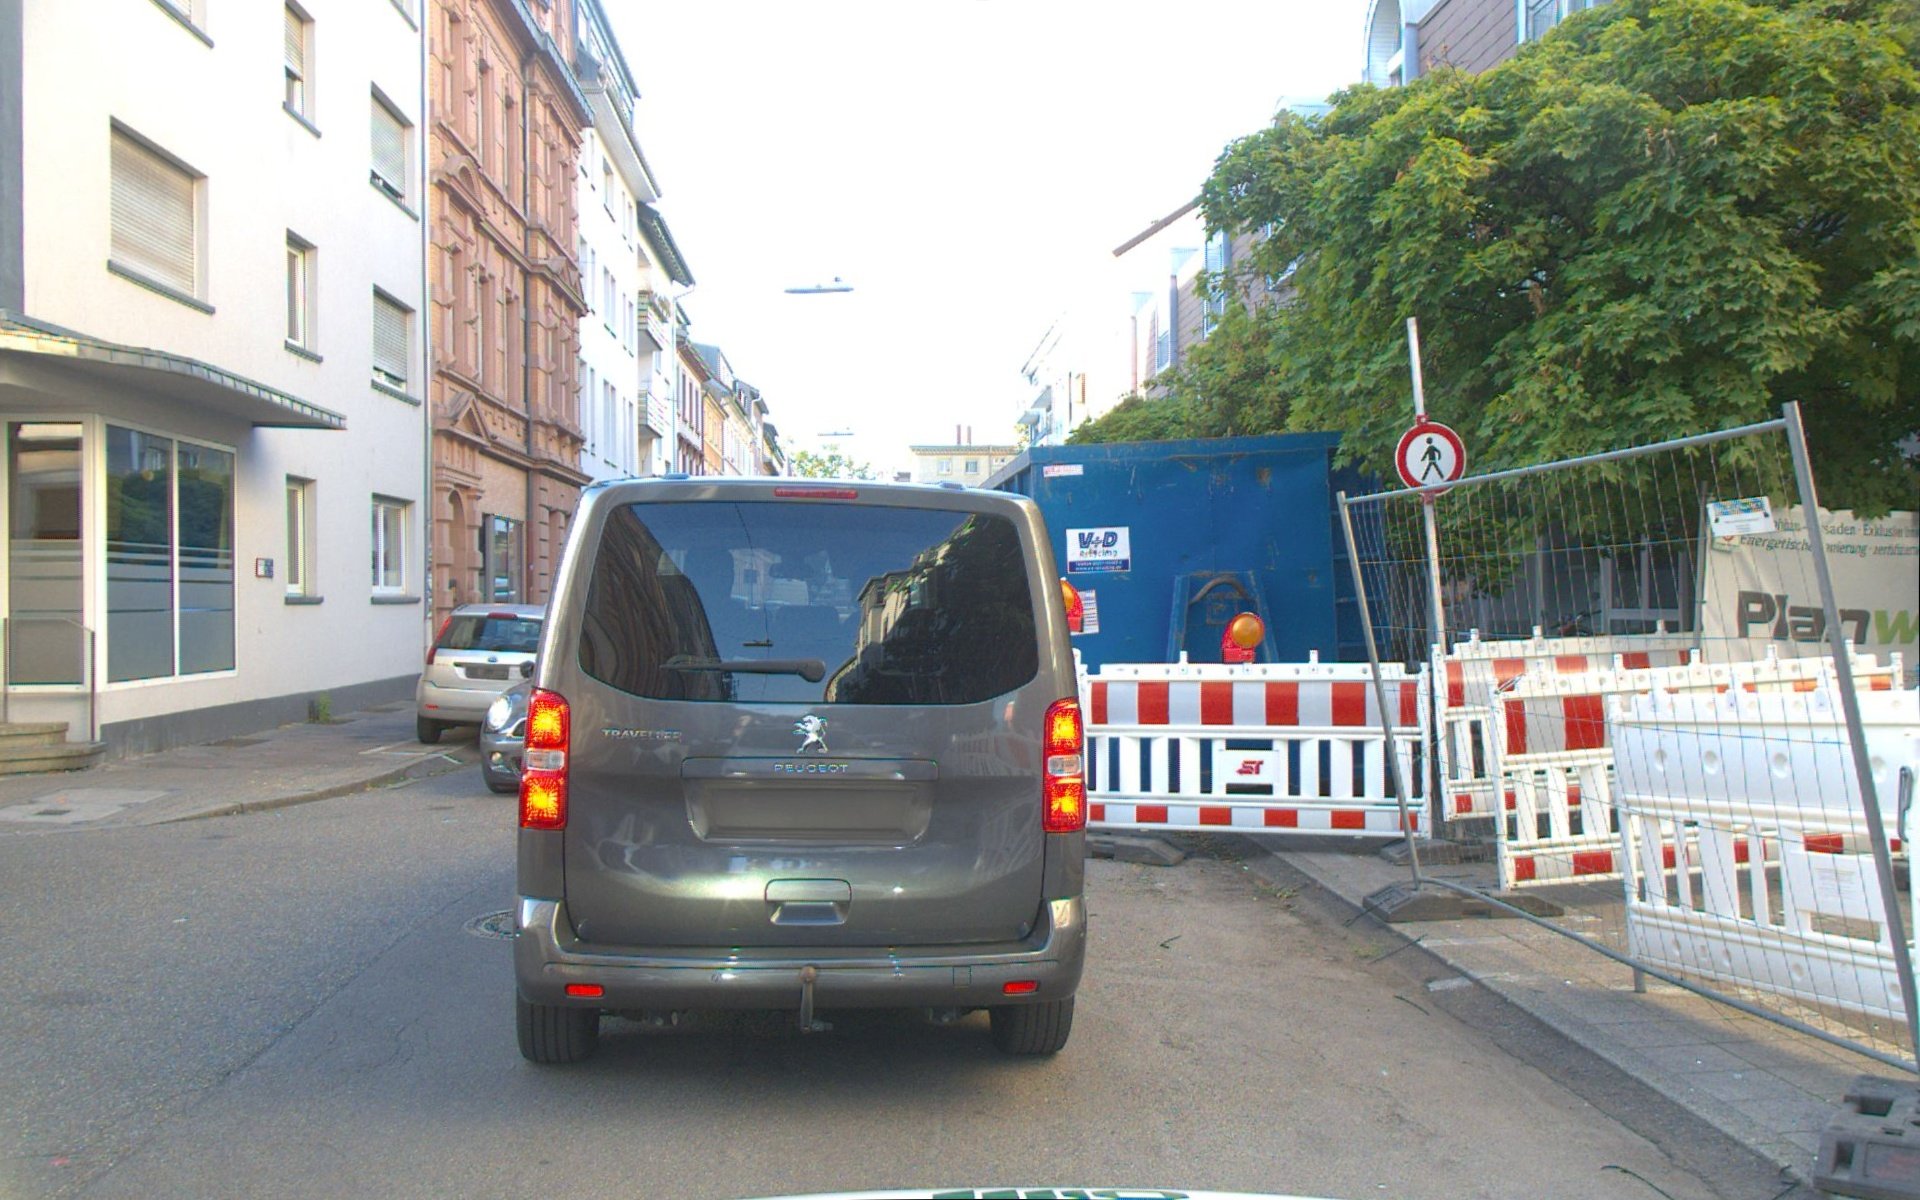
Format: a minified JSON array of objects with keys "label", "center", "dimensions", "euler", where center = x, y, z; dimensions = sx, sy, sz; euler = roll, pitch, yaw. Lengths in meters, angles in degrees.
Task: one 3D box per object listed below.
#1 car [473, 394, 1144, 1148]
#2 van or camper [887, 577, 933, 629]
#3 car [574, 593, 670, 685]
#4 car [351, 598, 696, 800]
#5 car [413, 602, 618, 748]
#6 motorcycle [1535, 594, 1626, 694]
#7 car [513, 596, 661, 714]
[{"label":"car","center":[-0.558,0.461,6.682],"dimensions":[1.821,2.049,3.997],"euler":[-2,0,-4]},{"label":"van or camper","center":[-2.776,0.165,90.162],"dimensions":[2.059,2.647,7.504],"euler":[-1,0,-5]},{"label":"car","center":[-6.214,0.684,30.594],"dimensions":[1.368,1.616,2.791],"euler":[0,0,-4]},{"label":"car","center":[-3.593,0.743,14.401],"dimensions":[1.953,1.512,4.000],"euler":[0,0,0]},{"label":"car","center":[-4.840,0.755,18.447],"dimensions":[1.600,1.455,3.551],"euler":[0,0,-5]},{"label":"motorcycle","center":[8.208,0.569,21.984],"dimensions":[0.851,1.244,2.459],"euler":[-1,-1,14]},{"label":"car","center":[-5.324,0.740,23.971],"dimensions":[1.525,1.535,3.594],"euler":[2,0,-4]}]
